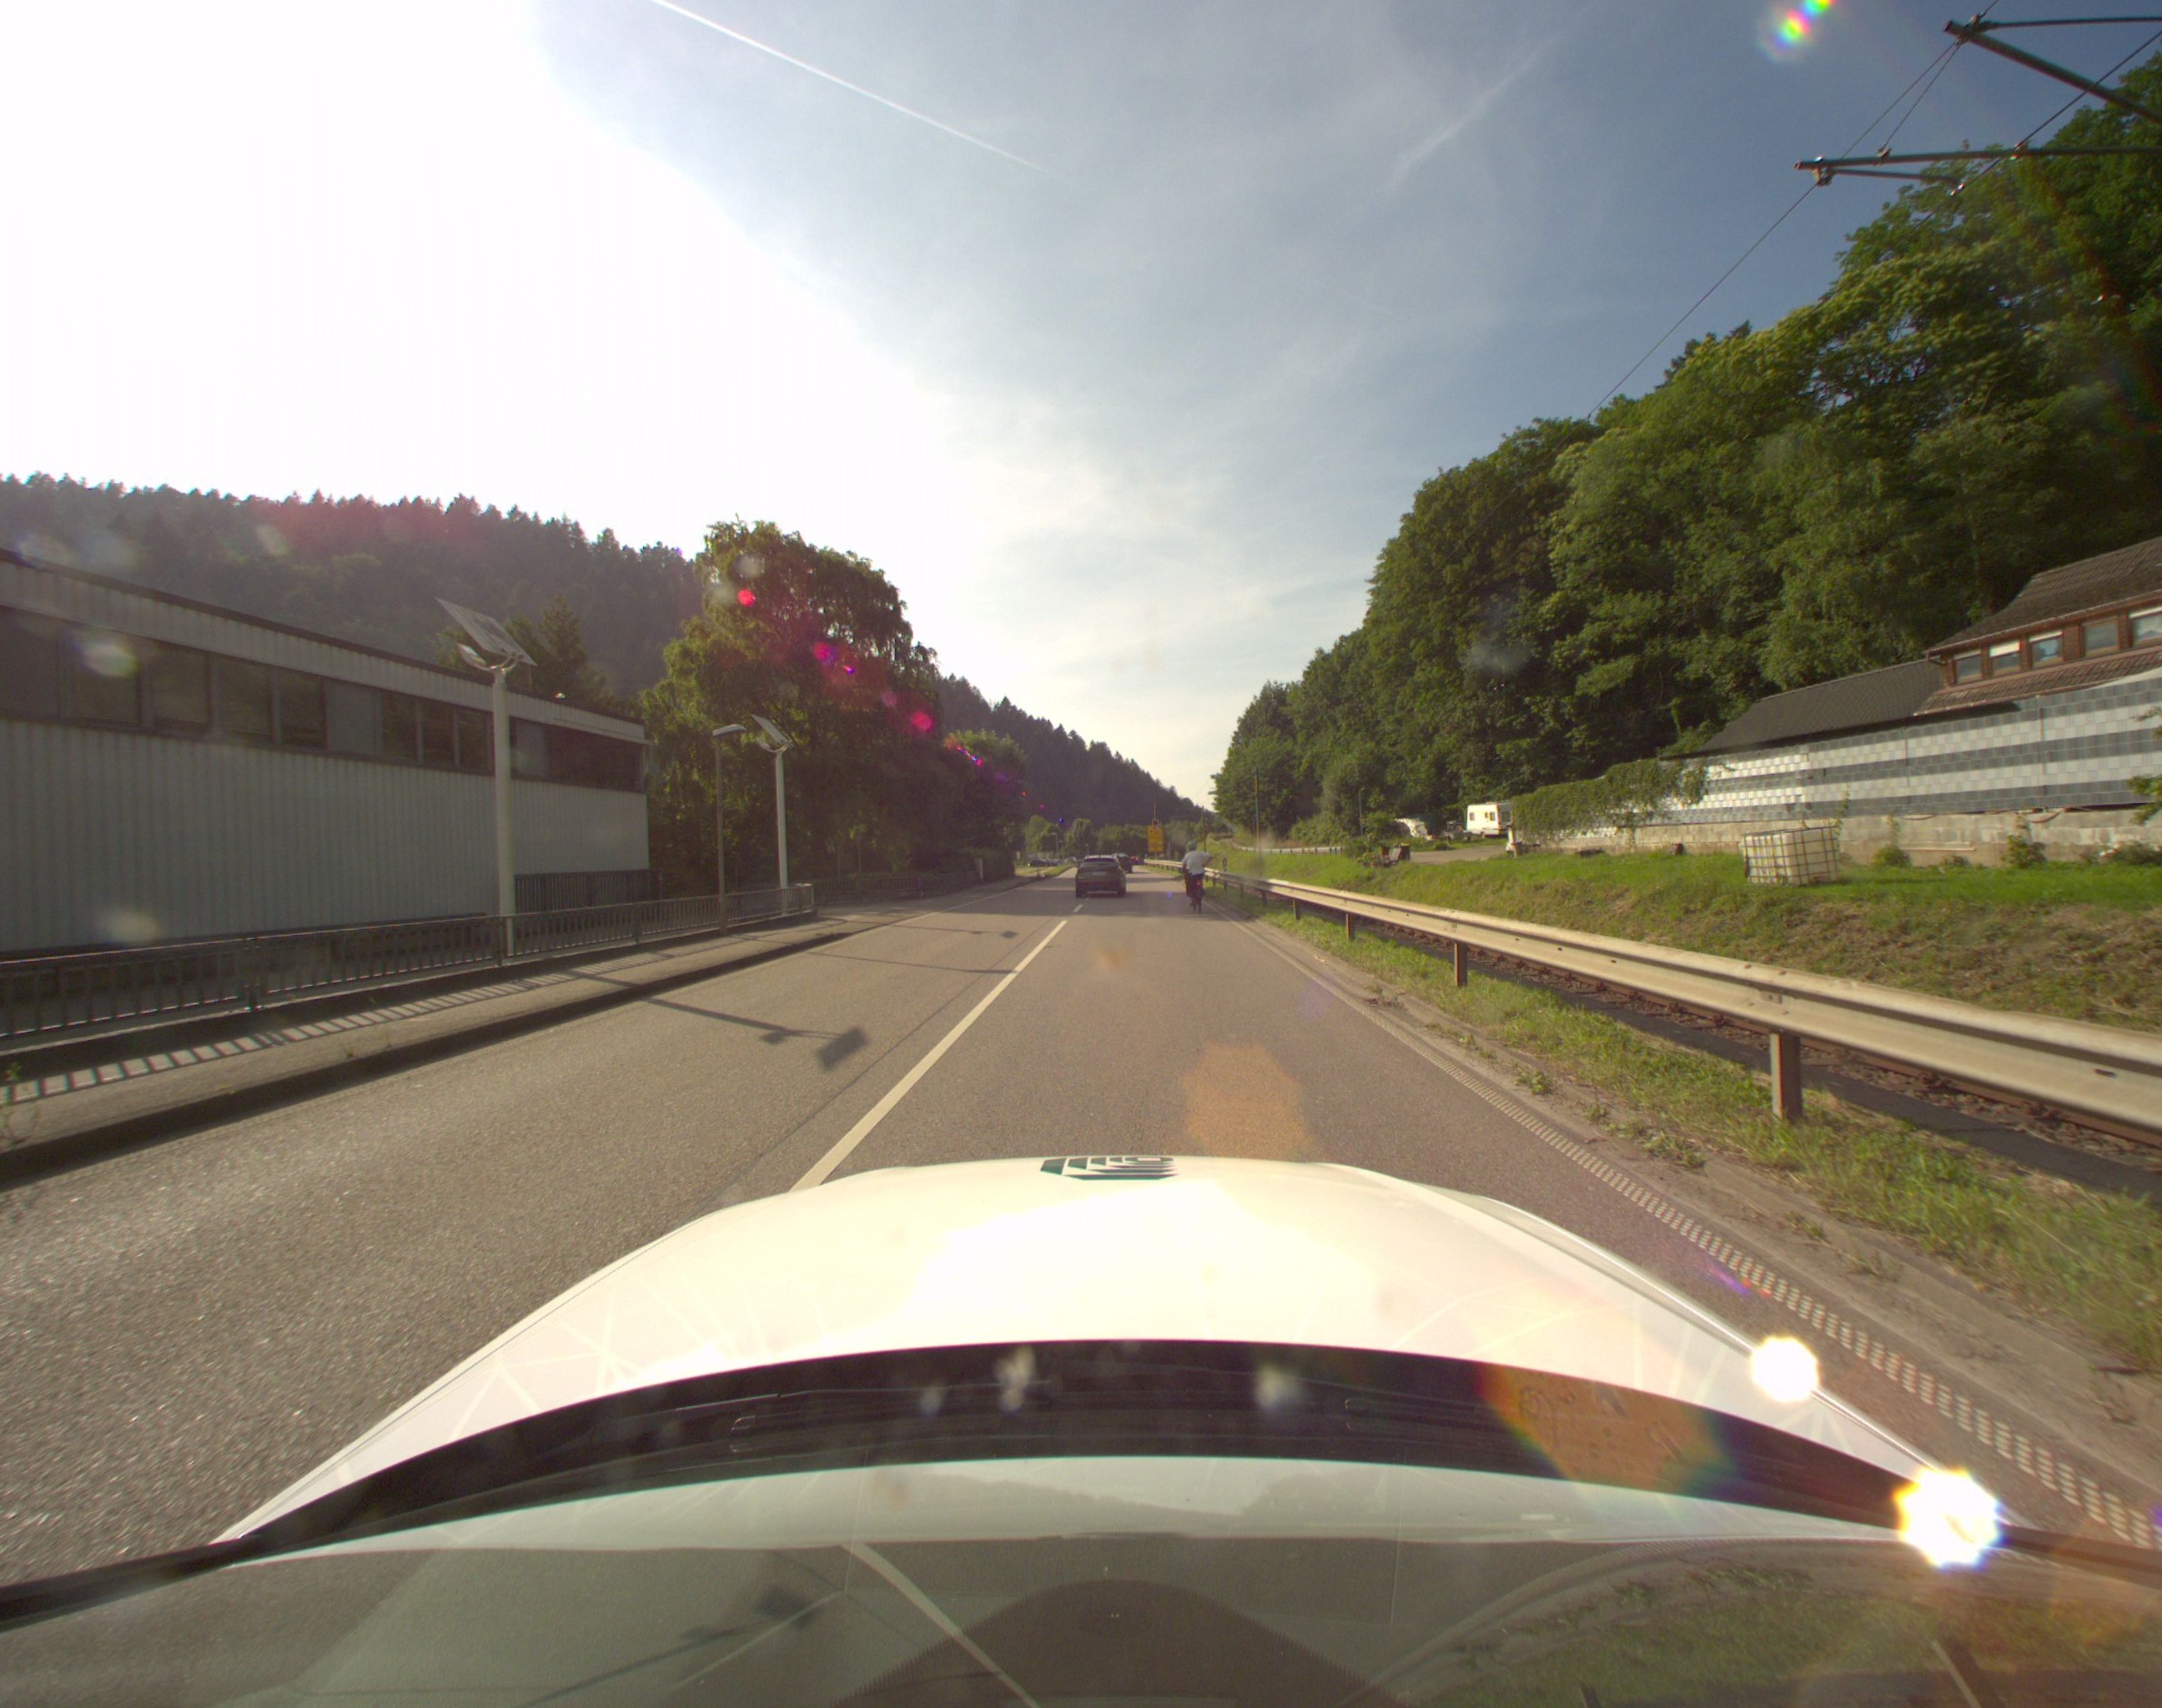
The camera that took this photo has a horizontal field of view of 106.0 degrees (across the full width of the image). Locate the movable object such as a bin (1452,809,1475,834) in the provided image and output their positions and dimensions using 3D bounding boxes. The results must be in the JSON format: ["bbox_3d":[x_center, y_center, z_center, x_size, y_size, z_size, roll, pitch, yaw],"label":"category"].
[{"bbox_3d":[28.978,-2.419,61.751,0.863,1.802,1.798,-2,0,2],"label":"movable object such as a bin"}]

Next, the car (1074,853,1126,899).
[{"bbox_3d":[0.759,0.745,29.829,1.732,1.508,4.003,-1,0,3],"label":"car"}]

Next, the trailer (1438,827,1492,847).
[{"bbox_3d":[26.229,-1.150,55.777,2.059,1.192,3.716,-1,0,2],"label":"trailer"}]

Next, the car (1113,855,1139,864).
[{"bbox_3d":[7.533,0.949,135.238,4.240,1.433,1.558,-2,0,4],"label":"car"}]

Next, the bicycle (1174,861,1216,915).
[{"bbox_3d":[2.872,0.836,20.756,0.808,1.250,2.123,-2,0,2],"label":"bicycle"}]

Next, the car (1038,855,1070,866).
[{"bbox_3d":[-3.677,0.862,112.764,4.240,1.433,1.558,-2,0,4],"label":"car"}]

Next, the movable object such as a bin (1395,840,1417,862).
[{"bbox_3d":[16.696,-0.160,41.881,0.850,1.107,0.936,-2,0,9],"label":"movable object such as a bin"}]

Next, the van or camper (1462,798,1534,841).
[{"bbox_3d":[28.832,-2.334,56.558,2.183,2.642,5.775,-1,-1,2],"label":"van or camper"}]

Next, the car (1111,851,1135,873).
[{"bbox_3d":[3.297,0.592,63.992,1.732,1.602,4.003,-1,0,3],"label":"car"}]

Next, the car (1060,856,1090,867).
[{"bbox_3d":[-0.833,1.028,118.162,4.240,1.433,1.558,-2,0,4],"label":"car"}]

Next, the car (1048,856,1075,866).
[{"bbox_3d":[-3.231,1.118,133.642,4.240,1.433,1.558,-2,0,4],"label":"car"}]

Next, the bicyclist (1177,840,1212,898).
[{"bbox_3d":[2.867,0.370,20.617,0.779,1.412,0.675,-2,0,1],"label":"bicyclist"}]
